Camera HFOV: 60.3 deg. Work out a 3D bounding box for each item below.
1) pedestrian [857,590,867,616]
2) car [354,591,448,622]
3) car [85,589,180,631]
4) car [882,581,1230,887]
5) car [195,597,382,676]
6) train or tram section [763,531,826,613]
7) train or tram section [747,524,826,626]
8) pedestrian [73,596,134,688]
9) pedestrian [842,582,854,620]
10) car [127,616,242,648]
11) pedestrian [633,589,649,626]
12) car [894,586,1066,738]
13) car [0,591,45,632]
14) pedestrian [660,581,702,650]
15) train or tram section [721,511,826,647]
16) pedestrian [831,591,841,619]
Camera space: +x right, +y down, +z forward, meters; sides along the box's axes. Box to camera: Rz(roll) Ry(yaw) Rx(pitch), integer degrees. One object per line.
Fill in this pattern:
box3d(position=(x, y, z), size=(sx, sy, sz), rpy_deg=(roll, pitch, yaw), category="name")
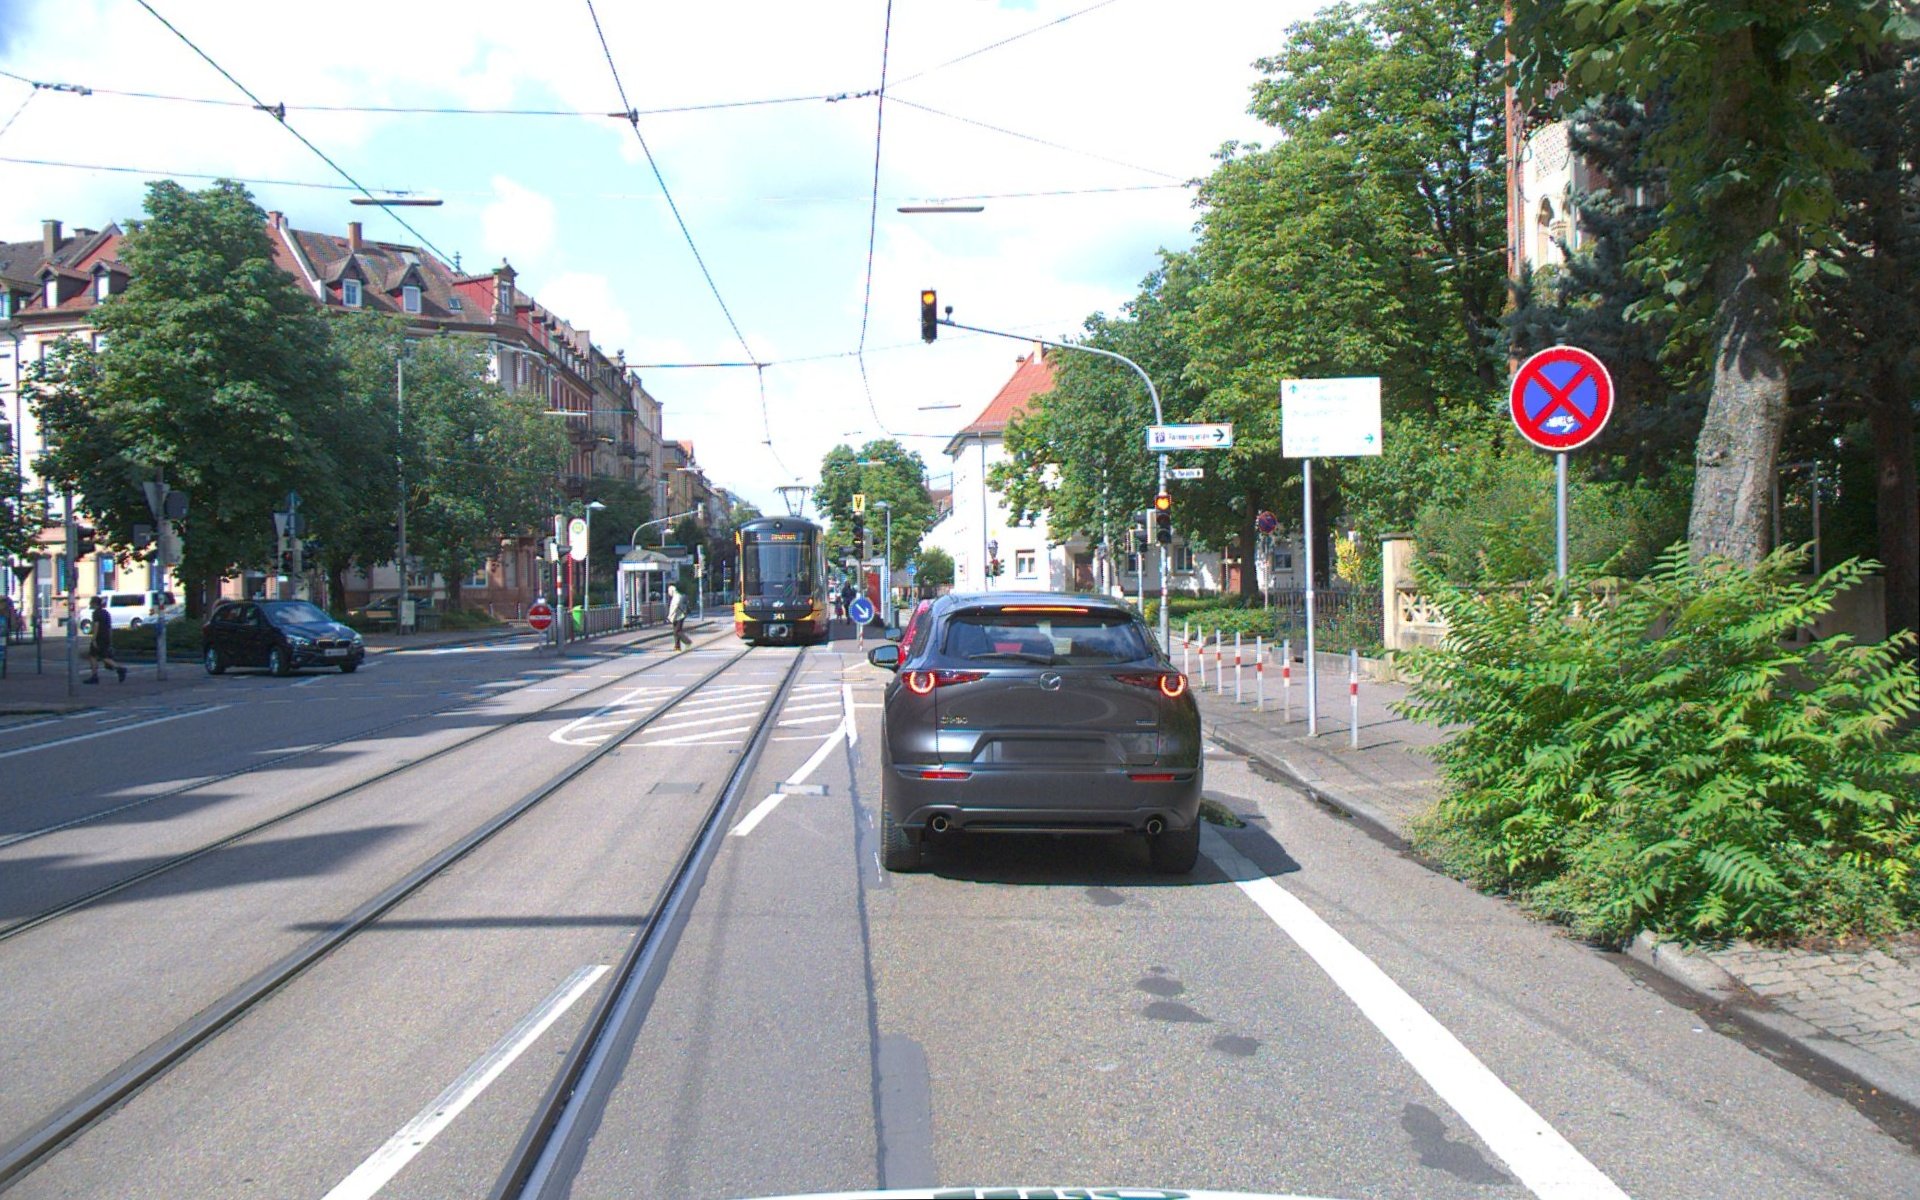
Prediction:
box3d(position=(-3.893, 0.118, 65.665), size=(0.372, 1.001, 0.474), rpy_deg=(-1, 0, -5), category="pedestrian")
box3d(position=(-26.272, 0.309, 77.727), size=(3.947, 1.384, 1.661), rpy_deg=(-1, 0, -31), category="car")
box3d(position=(-39.699, 0.485, 79.366), size=(3.906, 1.937, 1.999), rpy_deg=(-1, 0, 24), category="car")
box3d(position=(0.450, 0.665, 10.371), size=(1.742, 1.526, 3.999), rpy_deg=(1, 0, -1), category="car")
box3d(position=(-14.184, 0.759, 34.877), size=(3.985, 1.545, 1.755), rpy_deg=(-1, 0, 35), category="car")
box3d(position=(-7.831, -1.377, 79.730), size=(2.699, 3.551, 14.395), rpy_deg=(-1, 1, -5), category="train or tram section")
box3d(position=(-6.683, -1.046, 65.369), size=(2.699, 3.551, 14.395), rpy_deg=(-1, 1, -5), category="train or tram section")
box3d(position=(-16.288, 0.787, 31.463), size=(0.735, 1.713, 0.701), rpy_deg=(-1, 0, 8), category="pedestrian")
box3d(position=(-4.447, 0.037, 65.607), size=(0.441, 1.459, 0.474), rpy_deg=(-1, 0, -6), category="pedestrian")
box3d(position=(-31.972, 1.303, 68.239), size=(1.648, 1.203, 3.978), rpy_deg=(-1, 1, 40), category="car")
box3d(position=(-12.373, 0.275, 64.180), size=(0.420, 1.423, 0.397), rpy_deg=(-1, 0, 30), category="pedestrian")
box3d(position=(0.164, 0.621, 18.973), size=(1.742, 1.526, 3.999), rpy_deg=(1, 0, -1), category="car")
box3d(position=(-39.739, 0.485, 67.266), size=(3.905, 1.624, 2.000), rpy_deg=(-1, 0, -1), category="car")
box3d(position=(-7.169, 0.389, 42.528), size=(0.702, 1.735, 0.824), rpy_deg=(-1, 0, 22), category="pedestrian")
box3d(position=(-5.516, -0.735, 51.052), size=(2.699, 3.551, 14.395), rpy_deg=(-1, 1, -5), category="train or tram section")
box3d(position=(-4.888, 0.196, 65.410), size=(0.372, 1.089, 0.474), rpy_deg=(-1, 0, -4), category="pedestrian")
